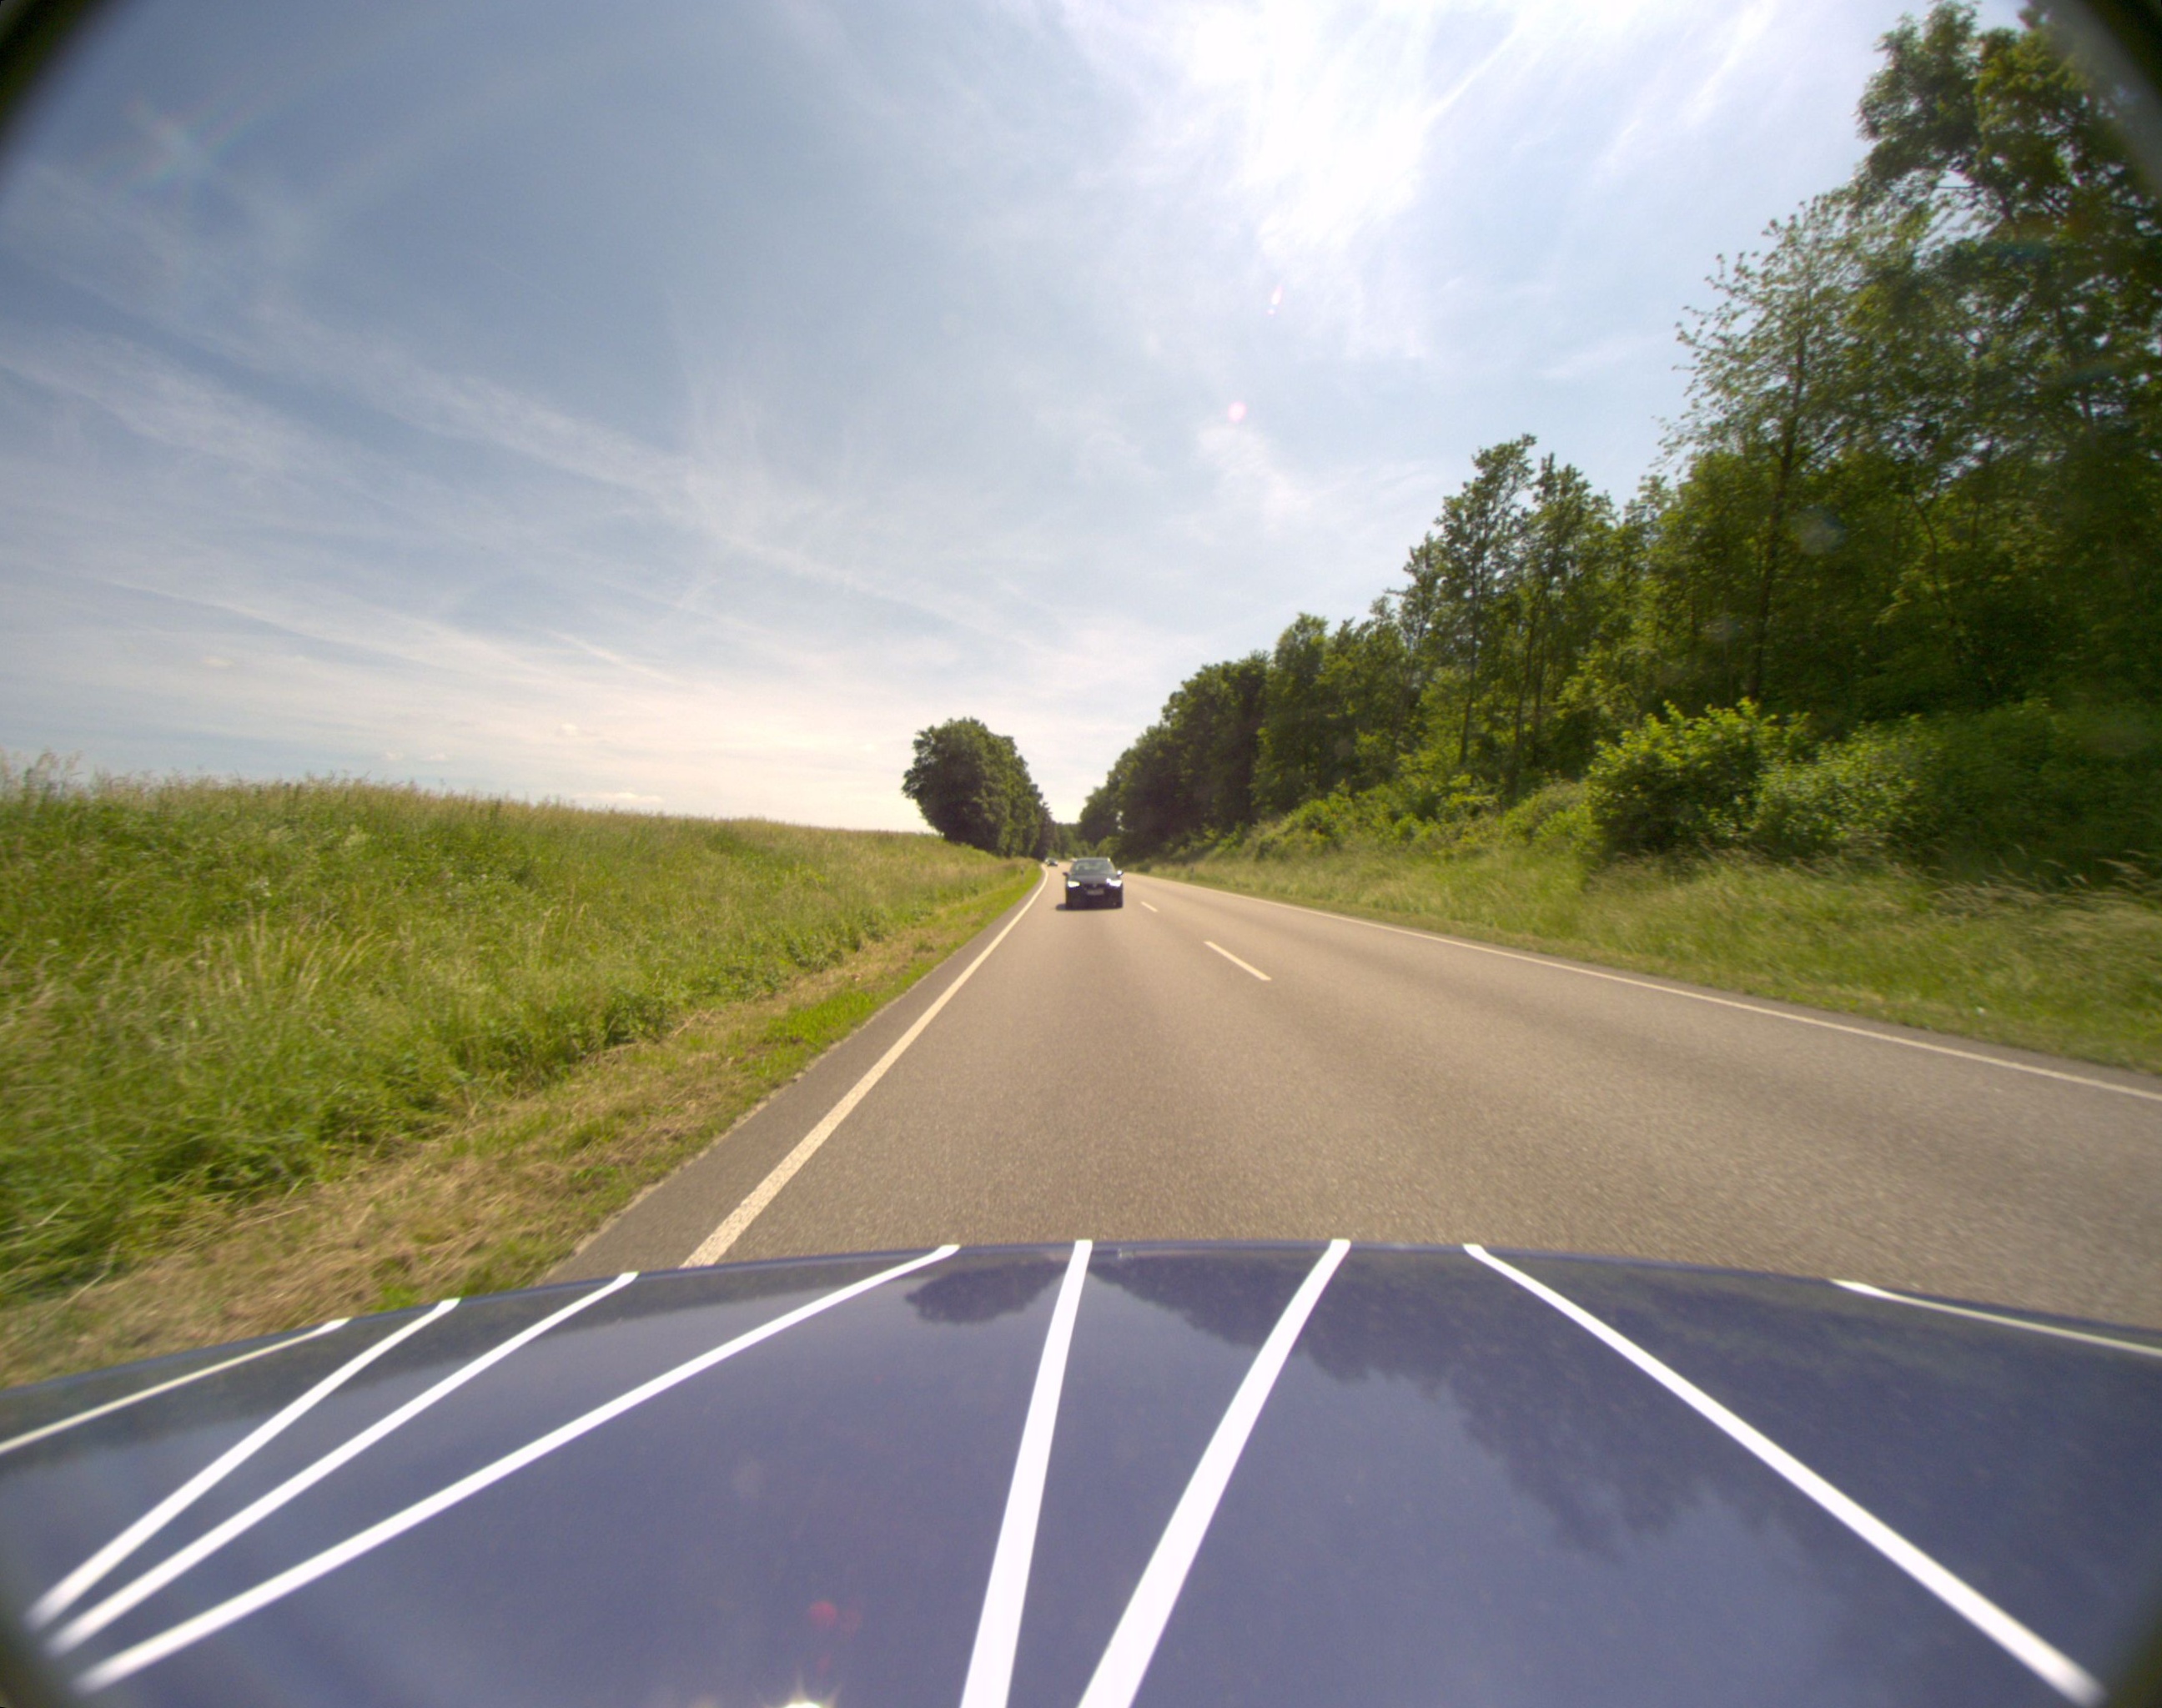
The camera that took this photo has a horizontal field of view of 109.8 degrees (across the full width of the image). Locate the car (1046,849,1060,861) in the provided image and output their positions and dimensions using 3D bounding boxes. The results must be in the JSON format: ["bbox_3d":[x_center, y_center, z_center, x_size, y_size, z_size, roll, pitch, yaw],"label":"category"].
[{"bbox_3d":[-4.892,0.250,133.494,2.000,2.002,3.997,-3,0,-8],"label":"car"}]

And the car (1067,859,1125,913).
[{"bbox_3d":[0.484,0.941,23.788,1.661,1.531,3.487,0,0,1],"label":"car"}]
